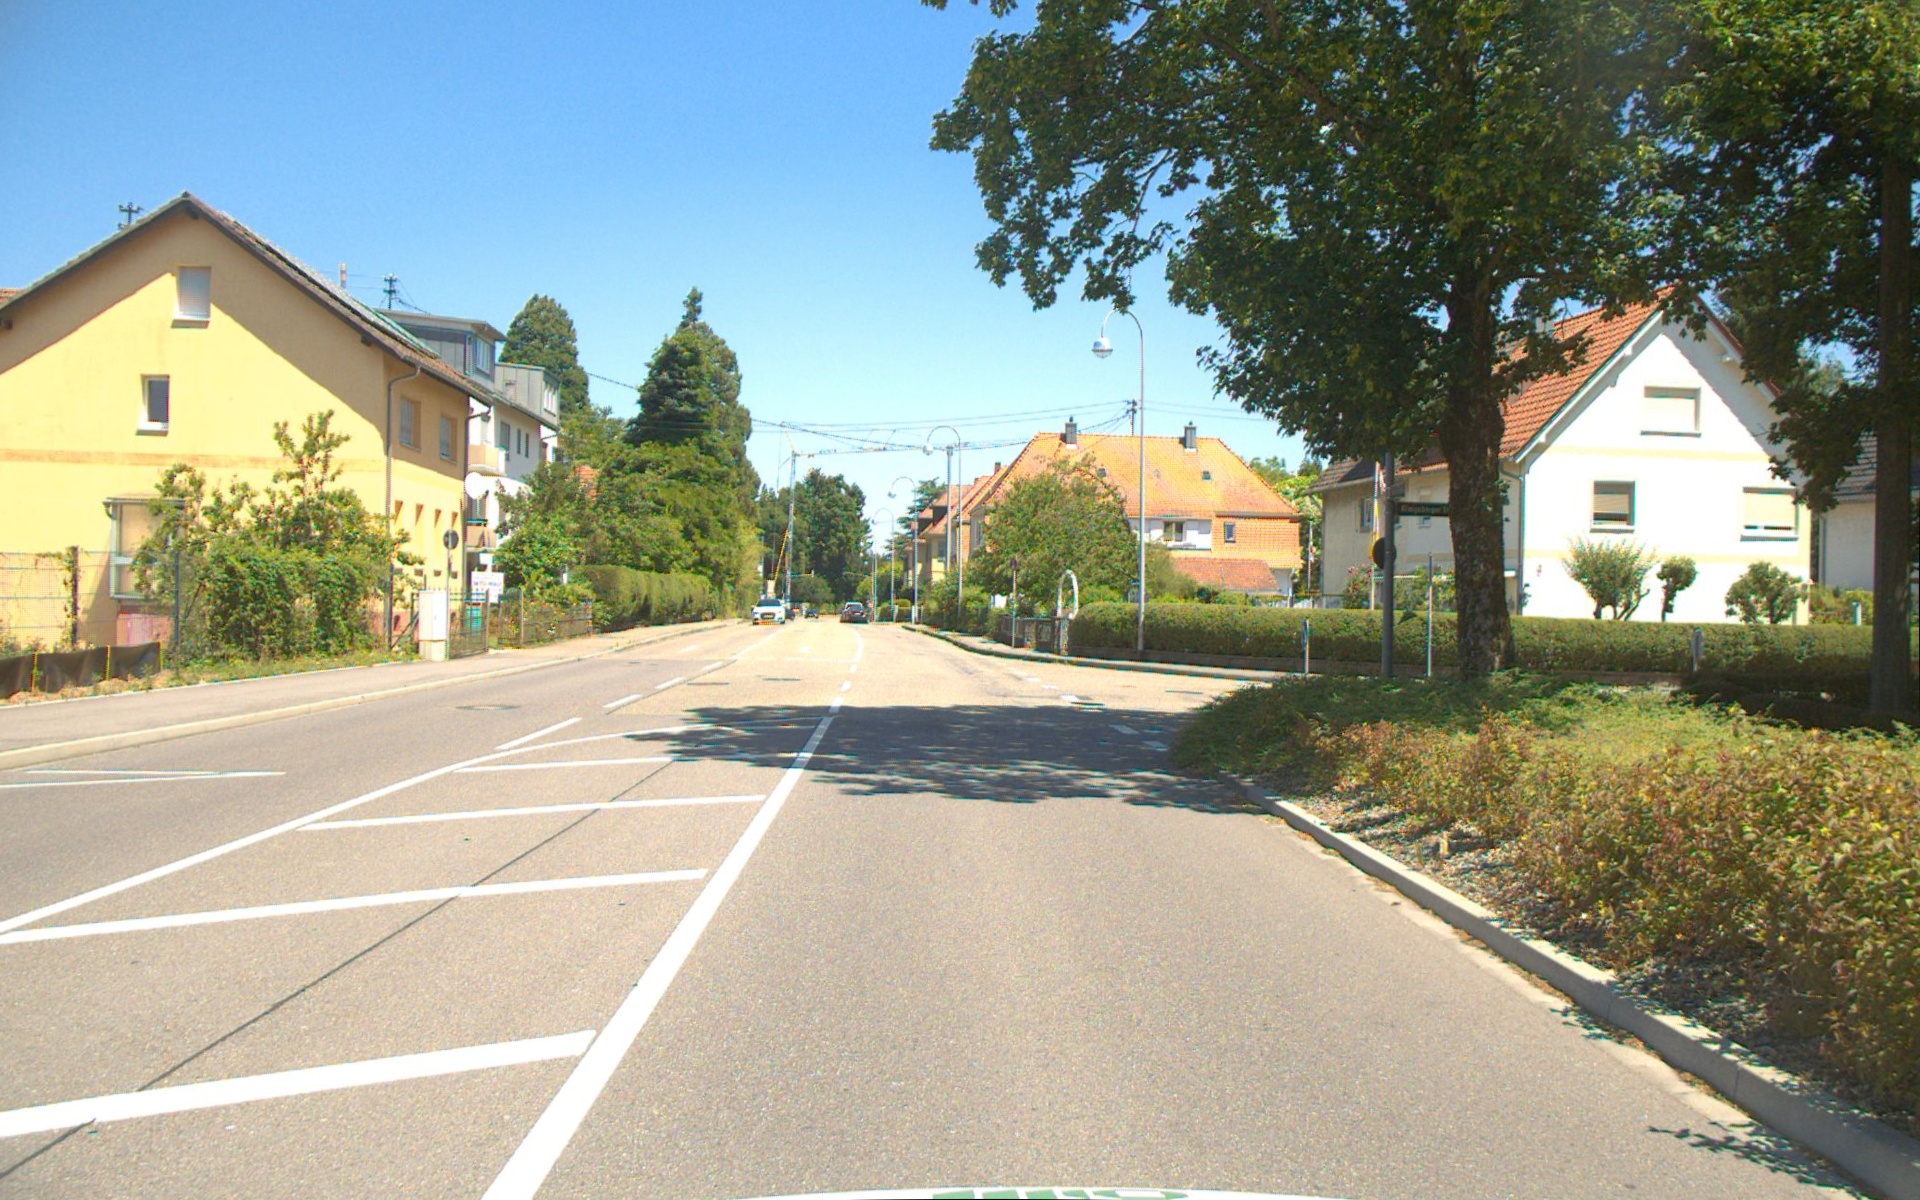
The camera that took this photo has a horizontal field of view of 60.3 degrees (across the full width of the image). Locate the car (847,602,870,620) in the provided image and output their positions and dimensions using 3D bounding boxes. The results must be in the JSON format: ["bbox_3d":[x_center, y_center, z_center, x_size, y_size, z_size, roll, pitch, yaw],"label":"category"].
[{"bbox_3d":[-8.391,0.923,136.512,1.660,1.444,4.545,2,-1,-6],"label":"car"}]

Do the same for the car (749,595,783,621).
[{"bbox_3d":[-10.769,0.431,92.025,1.647,1.396,4.203,0,0,-4],"label":"car"}]
